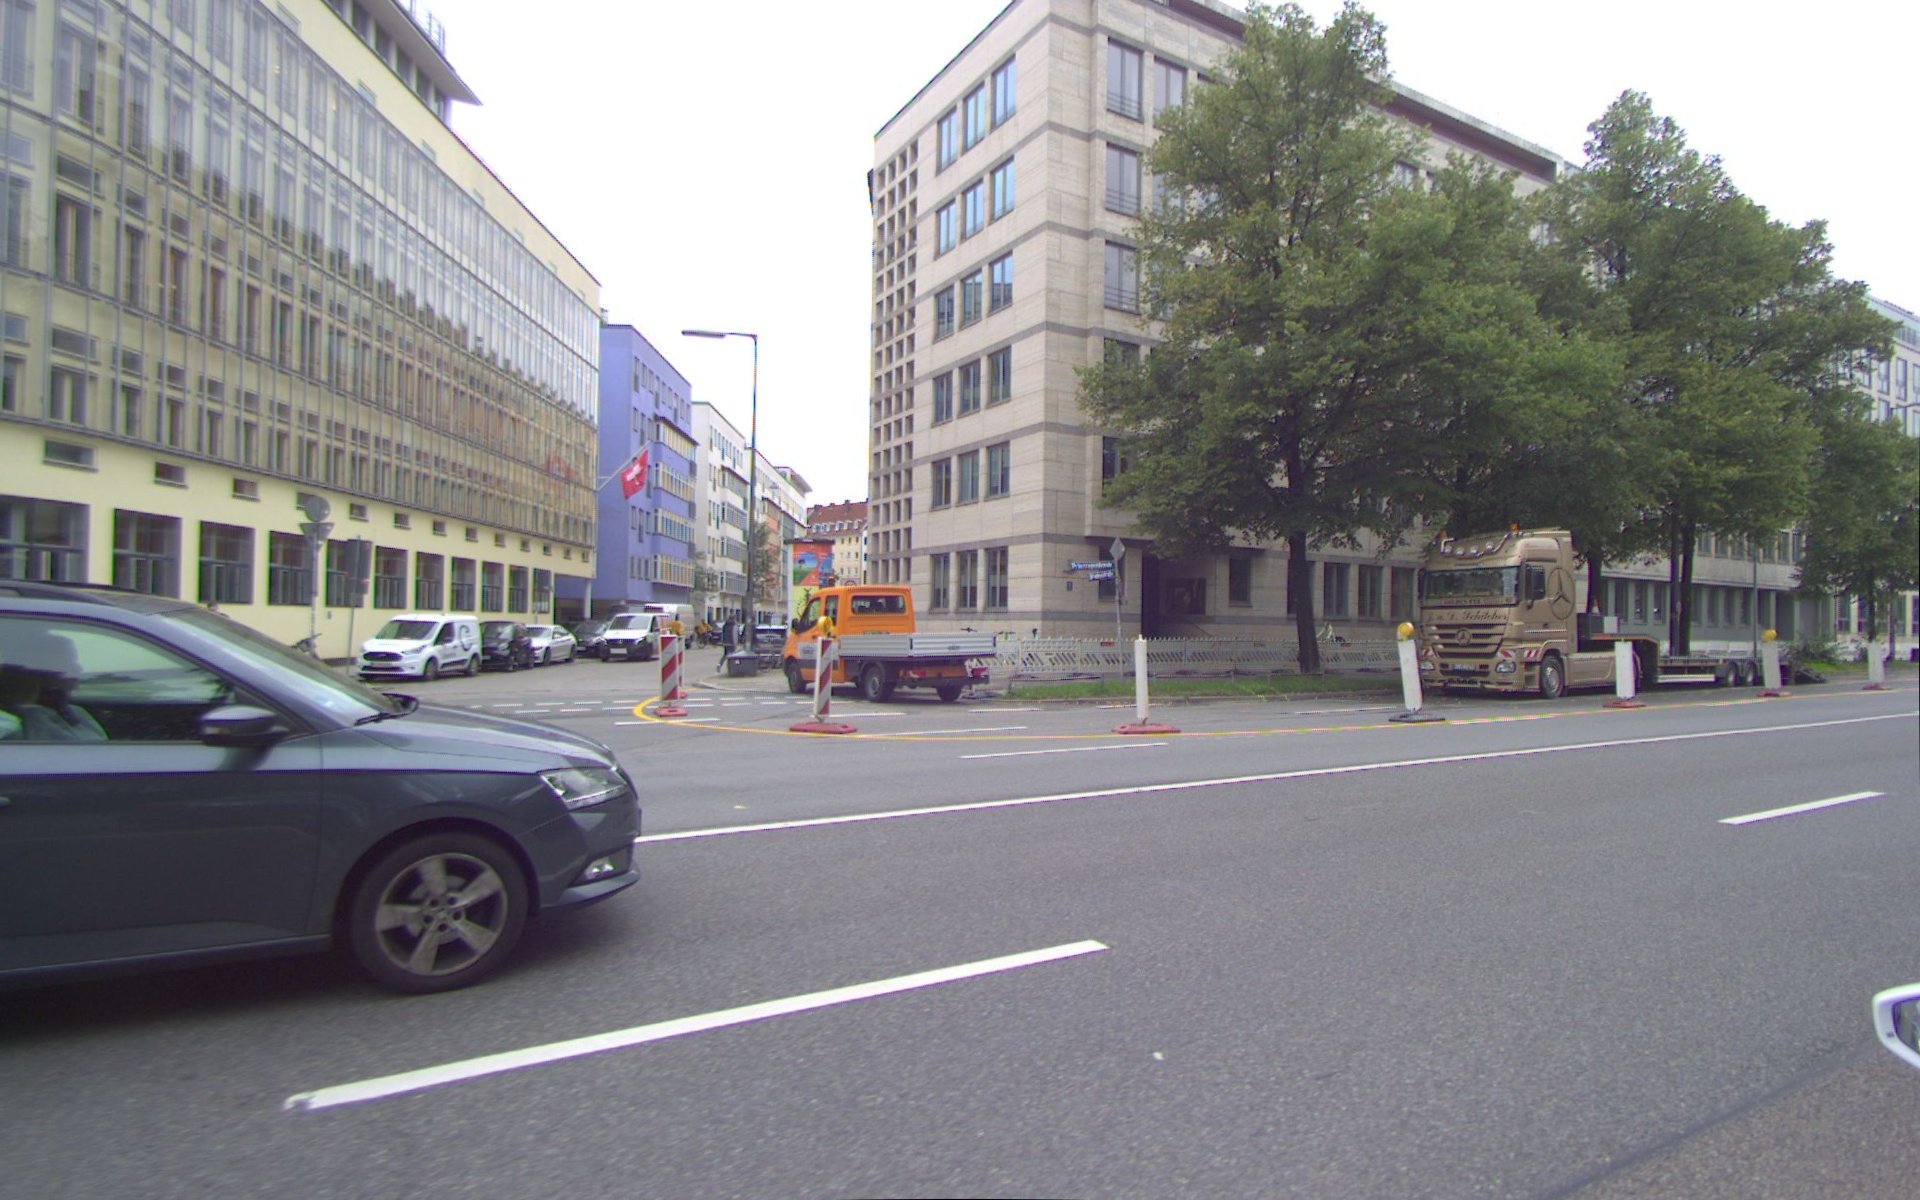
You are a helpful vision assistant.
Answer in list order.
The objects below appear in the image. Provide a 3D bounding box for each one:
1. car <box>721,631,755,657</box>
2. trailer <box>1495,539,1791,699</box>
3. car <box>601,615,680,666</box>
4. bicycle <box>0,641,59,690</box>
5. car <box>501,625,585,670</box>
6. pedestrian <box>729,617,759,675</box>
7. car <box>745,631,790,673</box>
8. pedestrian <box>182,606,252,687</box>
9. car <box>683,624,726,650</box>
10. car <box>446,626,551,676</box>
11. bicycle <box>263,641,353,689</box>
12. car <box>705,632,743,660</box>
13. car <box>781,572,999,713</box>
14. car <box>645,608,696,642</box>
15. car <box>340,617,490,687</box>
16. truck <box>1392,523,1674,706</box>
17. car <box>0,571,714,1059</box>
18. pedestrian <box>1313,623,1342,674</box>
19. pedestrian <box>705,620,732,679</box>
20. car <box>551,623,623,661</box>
[{"bbox_3d":[-16.165,3.165,73.187,1.834,1.773,3.998,1,-1,-4],"label":"car"},{"bbox_3d":[19.542,0.580,28.275,11.653,3.790,2.930,2,0,-35],"label":"trailer"},{"bbox_3d":[-12.827,1.610,40.663,1.719,1.935,5.071,1,-1,-2],"label":"car"},{"bbox_3d":[-18.050,1.231,18.803,0.574,0.889,1.738,0,-1,12],"label":"bicycle"},{"bbox_3d":[-14.887,1.651,36.031,1.460,1.517,3.964,1,-1,-2],"label":"car"},{"bbox_3d":[-6.845,1.446,31.822,0.773,1.798,0.680,1,0,-26],"label":"pedestrian"},{"bbox_3d":[-6.808,1.802,35.291,1.446,1.393,3.232,1,-2,-12],"label":"car"},{"bbox_3d":[-16.828,1.032,22.760,0.798,1.756,0.995,1,0,1],"label":"pedestrian"},{"bbox_3d":[-15.288,2.187,60.177,1.708,1.476,3.671,1,-1,-1],"label":"car"},{"bbox_3d":[-14.634,1.595,32.075,1.708,1.476,3.671,1,-1,-1],"label":"car"},{"bbox_3d":[-14.940,1.471,23.072,0.574,1.034,1.847,0,-1,12],"label":"bicycle"},{"bbox_3d":[-15.869,3.092,67.603,1.834,1.773,3.998,1,-1,-4],"label":"car"},{"bbox_3d":[-1.674,0.846,21.375,2.134,2.570,5.647,2,-2,-33],"label":"car"},{"bbox_3d":[-15.698,1.342,54.638,1.834,1.773,3.998,1,-1,-4],"label":"car"},{"bbox_3d":[-14.888,1.386,27.754,1.833,1.773,4.329,1,-1,-1],"label":"car"},{"bbox_3d":[14.050,0.383,24.397,7.588,3.825,2.897,2,0,-35],"label":"truck"},{"bbox_3d":[-3.287,0.662,3.833,4.226,1.466,1.784,2,-2,-31],"label":"car"},{"bbox_3d":[13.042,1.722,35.653,0.755,1.755,0.576,1,0,-30],"label":"pedestrian"},{"bbox_3d":[-7.612,1.546,31.639,0.665,1.798,0.680,1,0,-26],"label":"pedestrian"},{"bbox_3d":[-15.470,1.730,41.863,1.708,1.476,3.671,1,-1,-1],"label":"car"}]
